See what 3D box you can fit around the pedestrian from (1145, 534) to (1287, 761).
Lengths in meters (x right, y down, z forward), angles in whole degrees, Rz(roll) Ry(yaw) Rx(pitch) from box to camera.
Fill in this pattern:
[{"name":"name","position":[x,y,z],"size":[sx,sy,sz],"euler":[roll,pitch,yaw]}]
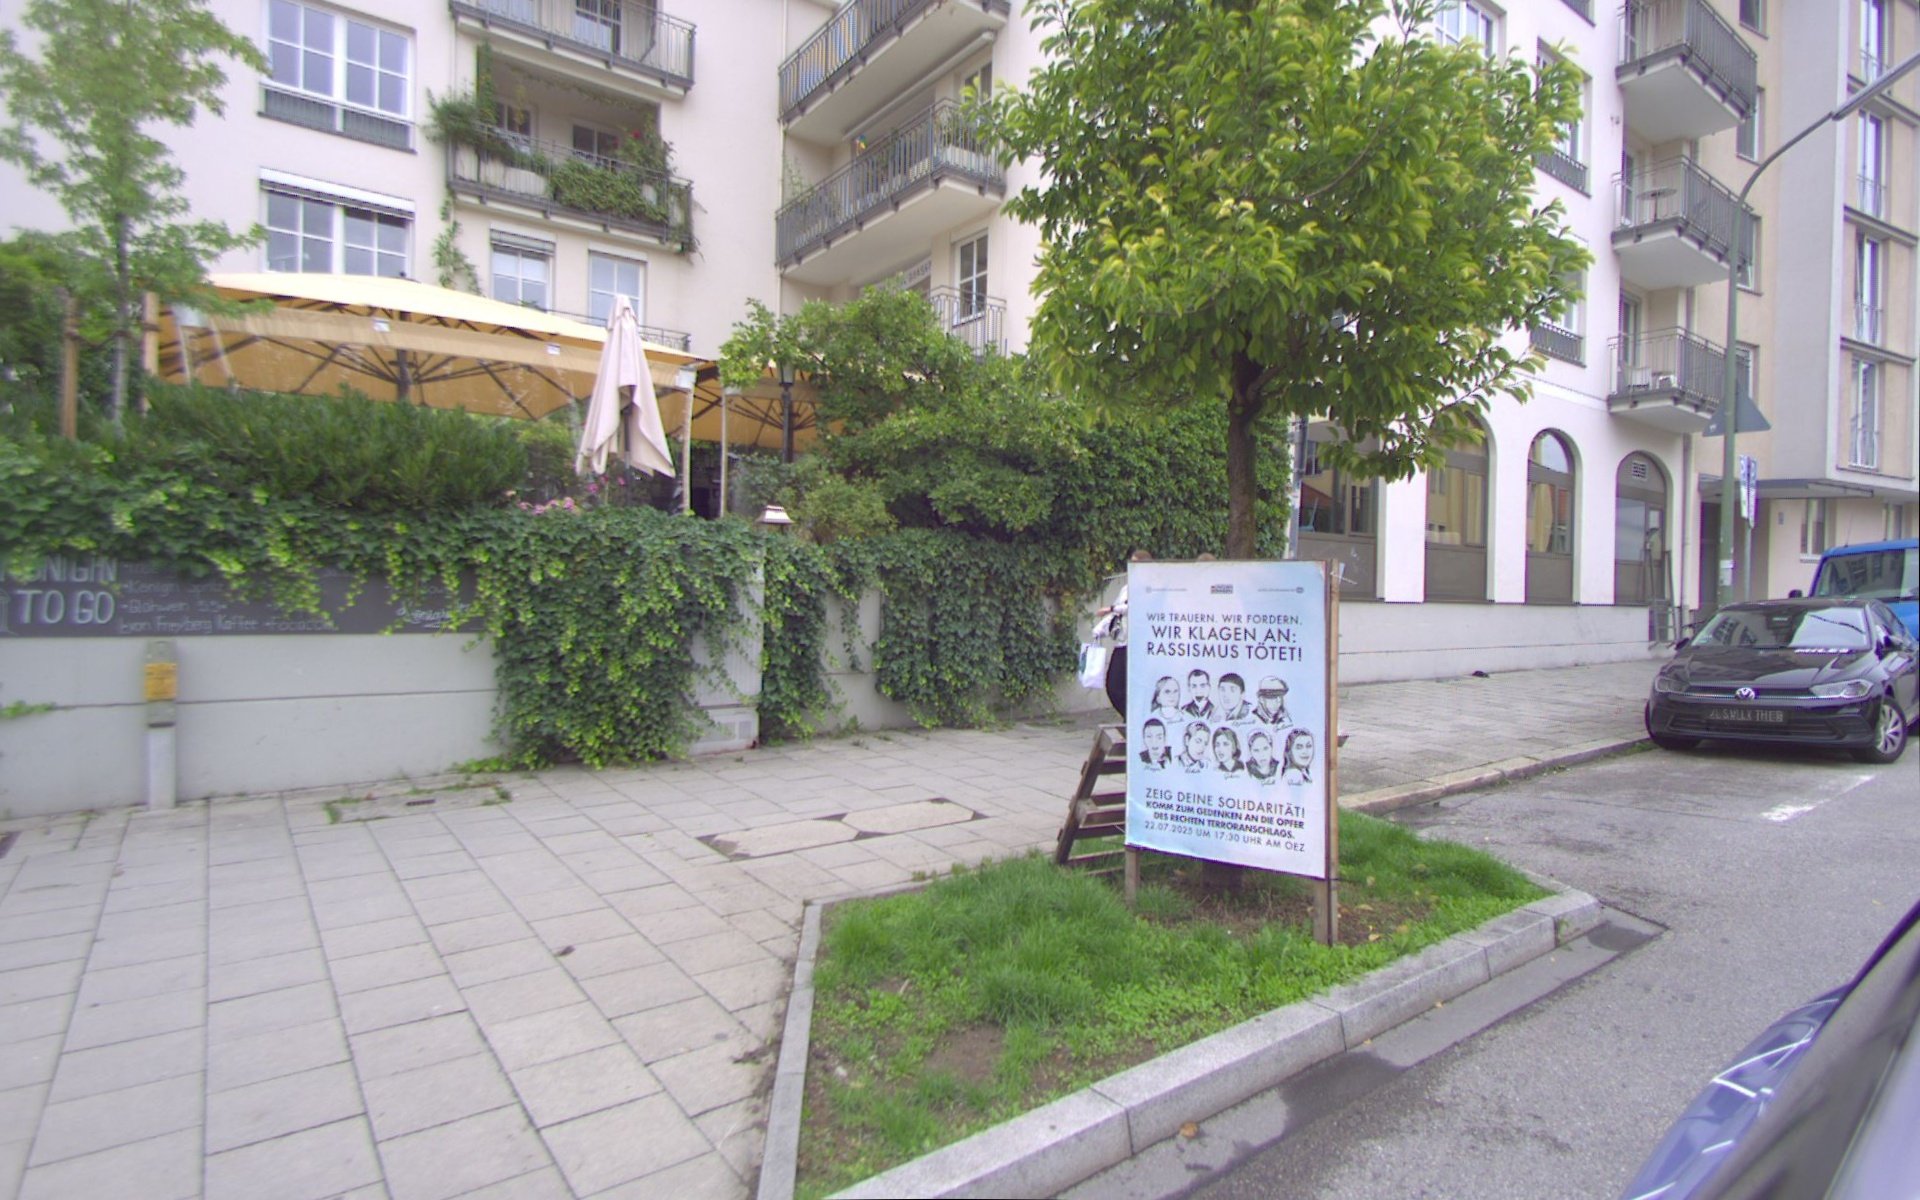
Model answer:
[{"name":"pedestrian","position":[1.986,0.327,7.869],"size":[0.814,1.648,0.680],"euler":[-1,3,-38]}]

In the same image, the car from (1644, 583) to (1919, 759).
[{"name":"car","position":[8.462,0.587,10.051],"size":[3.929,1.413,1.717],"euler":[0,-2,-40]}]

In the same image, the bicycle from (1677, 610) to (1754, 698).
[{"name":"bicycle","position":[10.161,0.688,13.589],"size":[0.565,1.083,1.758],"euler":[2,1,45]}]

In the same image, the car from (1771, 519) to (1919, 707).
[{"name":"car","position":[13.320,0.103,13.758],"size":[4.933,2.242,2.115],"euler":[-2,-2,-34]}]

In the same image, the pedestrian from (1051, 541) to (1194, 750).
[{"name":"pedestrian","position":[1.351,0.331,8.454],"size":[0.814,1.625,0.809],"euler":[-1,3,-37]}]
